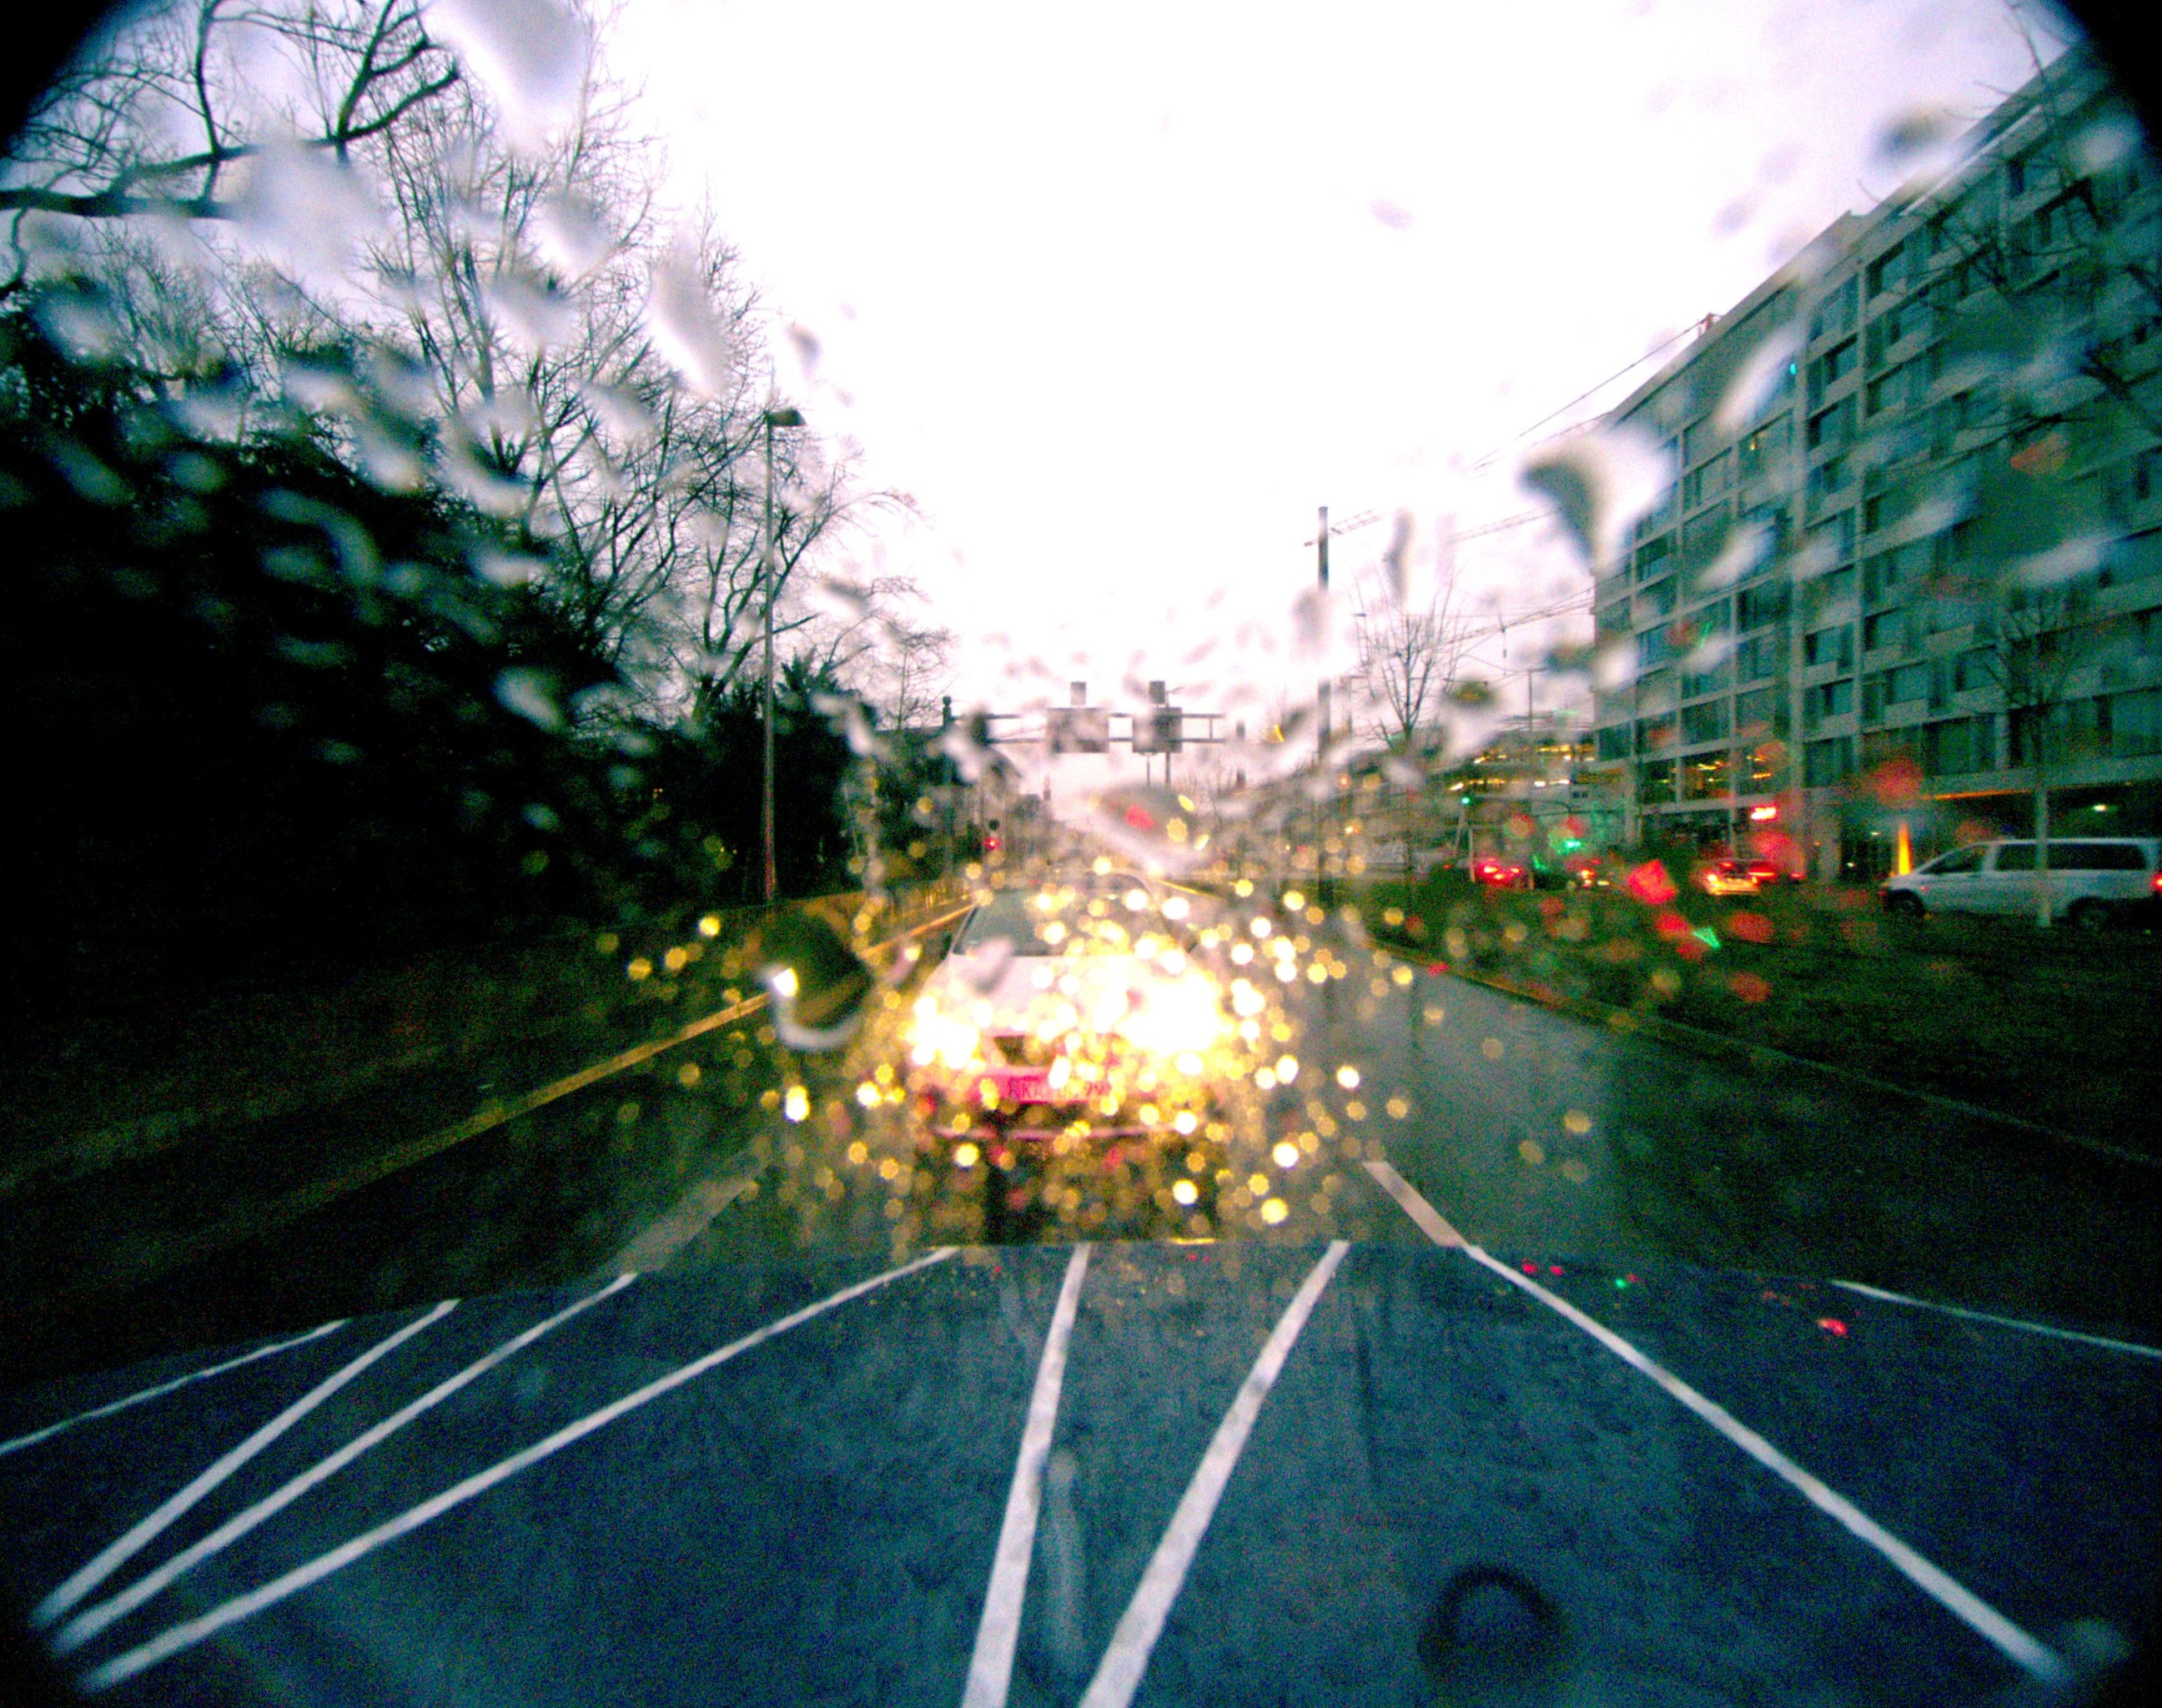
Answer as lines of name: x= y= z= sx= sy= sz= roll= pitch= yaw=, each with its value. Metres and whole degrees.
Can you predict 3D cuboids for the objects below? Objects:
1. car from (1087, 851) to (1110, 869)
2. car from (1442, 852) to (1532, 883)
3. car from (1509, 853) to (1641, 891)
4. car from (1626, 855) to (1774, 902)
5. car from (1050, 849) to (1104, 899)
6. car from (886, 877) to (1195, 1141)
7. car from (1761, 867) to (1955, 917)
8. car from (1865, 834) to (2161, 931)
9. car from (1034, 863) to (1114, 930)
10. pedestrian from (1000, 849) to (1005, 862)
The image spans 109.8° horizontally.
car: x=1.440 y=0.484 z=62.504 sx=1.767 sy=1.363 sz=3.981 roll=-2 pitch=1 yaw=1
car: x=20.411 y=0.613 z=38.490 sx=1.998 sy=1.459 sz=5.034 roll=0 pitch=0 yaw=1
car: x=20.501 y=0.700 z=31.799 sx=2.001 sy=1.488 sz=4.444 roll=0 pitch=0 yaw=-15
car: x=20.364 y=0.746 z=25.213 sx=1.901 sy=1.423 sz=3.706 roll=0 pitch=0 yaw=0
car: x=-0.133 y=0.671 z=28.009 sx=1.781 sy=1.666 sz=3.981 roll=-2 pitch=1 yaw=0
car: x=-0.240 y=0.985 z=6.501 sx=1.798 sy=1.363 sz=3.981 roll=-2 pitch=1 yaw=0
car: x=26.740 y=1.249 z=26.461 sx=1.900 sy=1.507 sz=4.792 roll=0 pitch=0 yaw=1
car: x=19.878 y=0.489 z=15.799 sx=1.900 sy=1.709 sz=5.118 roll=0 pitch=0 yaw=1
car: x=-0.153 y=0.955 z=18.594 sx=1.728 sy=1.318 sz=3.981 roll=-2 pitch=1 yaw=0
pedestrian: x=-9.280 y=0.216 z=89.803 sx=0.521 sy=1.501 sz=0.588 roll=0 pitch=1 yaw=1
